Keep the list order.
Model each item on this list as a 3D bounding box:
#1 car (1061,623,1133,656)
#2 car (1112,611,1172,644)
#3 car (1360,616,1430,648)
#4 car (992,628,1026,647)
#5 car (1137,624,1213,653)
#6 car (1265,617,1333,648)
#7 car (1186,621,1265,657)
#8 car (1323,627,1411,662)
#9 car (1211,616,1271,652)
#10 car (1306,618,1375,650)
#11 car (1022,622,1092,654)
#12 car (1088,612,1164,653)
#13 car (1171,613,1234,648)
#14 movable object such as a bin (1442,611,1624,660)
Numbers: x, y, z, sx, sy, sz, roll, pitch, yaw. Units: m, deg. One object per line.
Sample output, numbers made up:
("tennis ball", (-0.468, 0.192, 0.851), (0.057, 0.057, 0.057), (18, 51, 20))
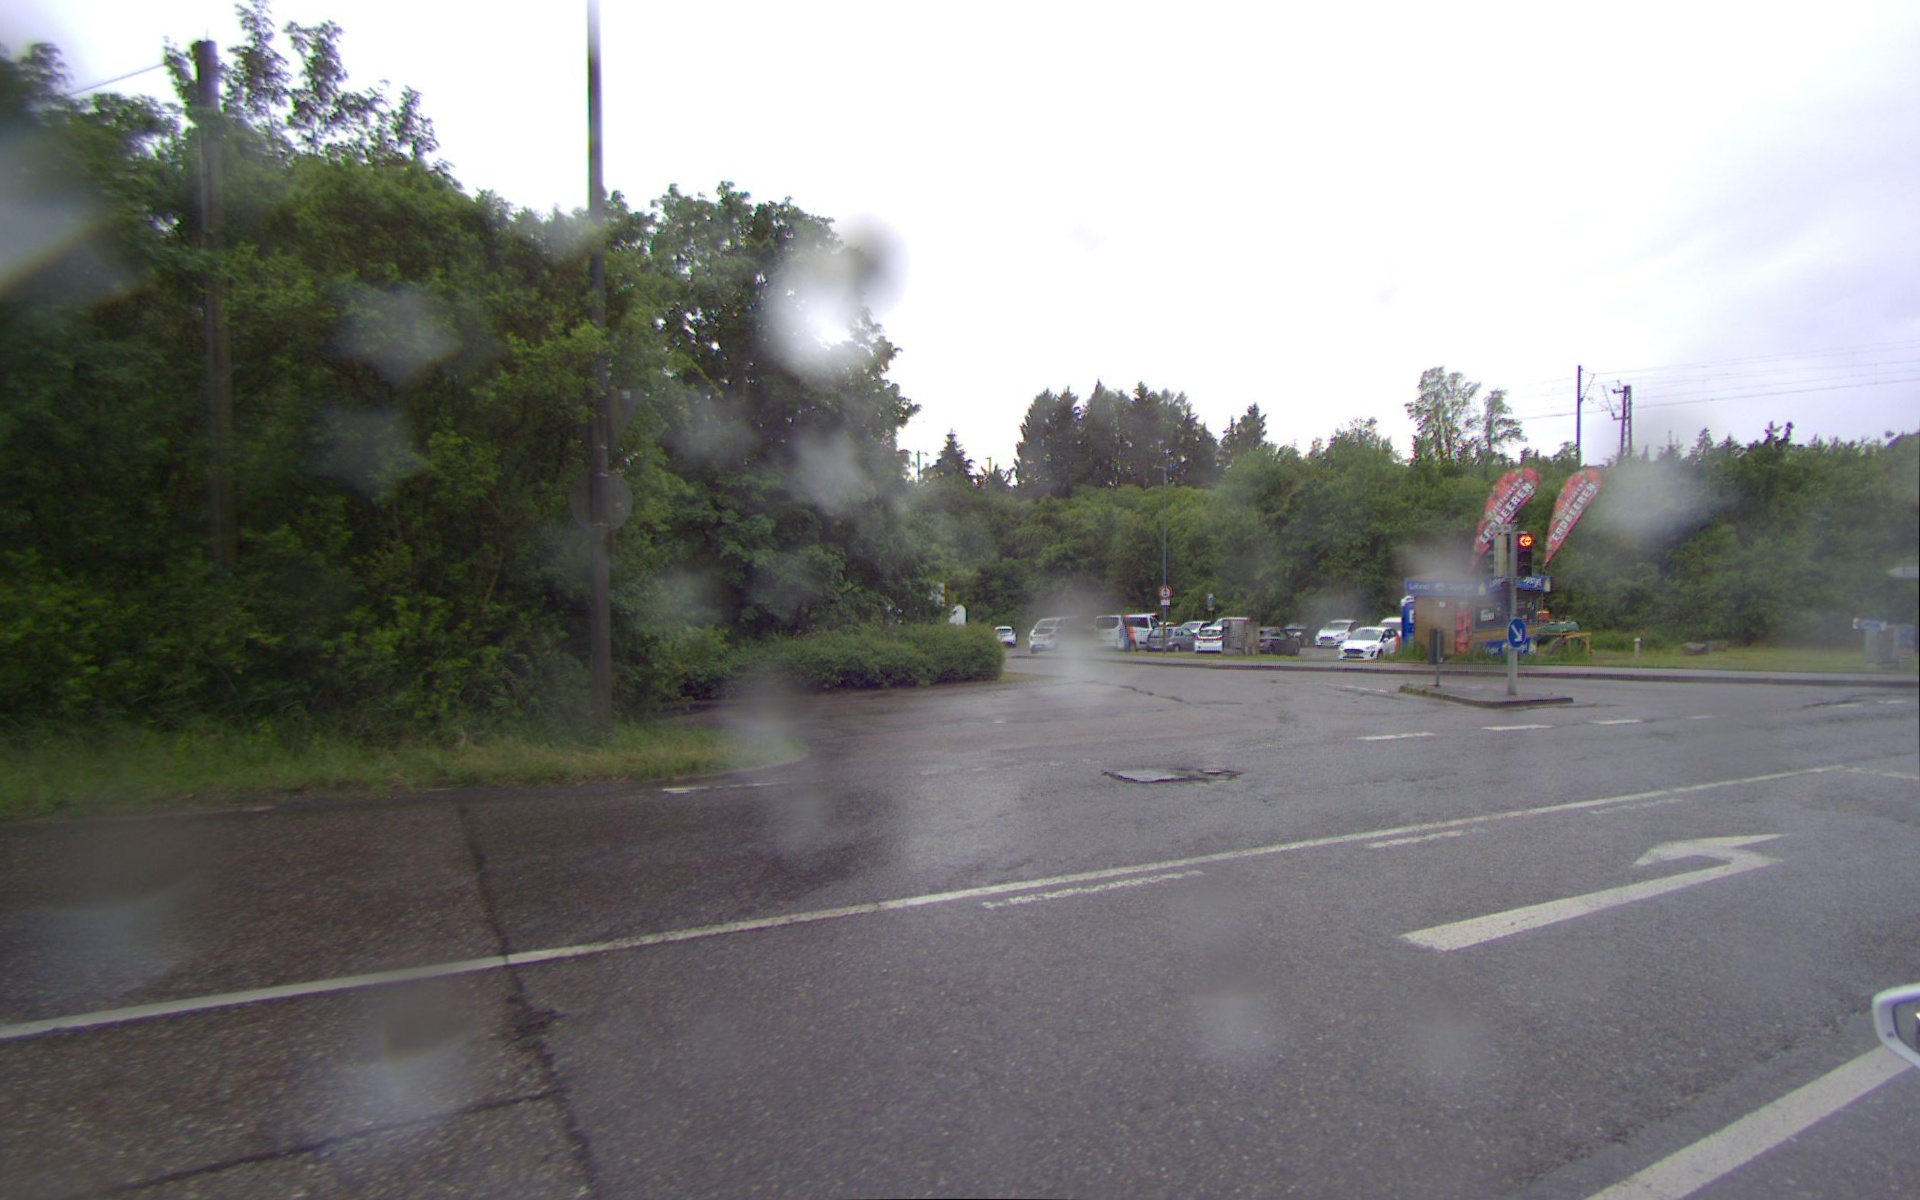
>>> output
("car", (7.315, 2.123, 53.547), (1.834, 1.606, 3.979), (1, -1, 42))
("car", (11.859, 1.769, 65.421), (1.972, 2.040, 3.976), (1, -1, 44))
("car", (22.777, 1.666, 52.593), (3.972, 1.606, 1.975), (2, -2, -43))
("car", (3.461, 2.617, 70.530), (1.609, 1.248, 4.003), (2, -1, 14))
("car", (10.801, 1.954, 50.362), (3.972, 1.327, 1.734), (3, -1, -43))
("car", (19.120, 1.848, 56.582), (3.972, 1.606, 1.975), (3, -1, -43))
("car", (12.871, 1.902, 48.686), (3.880, 1.606, 1.918), (3, -1, -43))
("car", (17.755, 1.958, 43.673), (4.869, 1.358, 1.636), (3, -1, -43))
("car", (16.841, 2.011, 60.127), (1.916, 2.040, 3.846), (1, 0, 43))
("car", (20.663, 1.867, 54.485), (3.972, 1.606, 1.975), (3, -1, -43))
("car", (5.400, 2.105, 55.444), (1.813, 1.606, 3.979), (1, -1, 42))
("car", (8.540, 1.679, 51.612), (1.971, 1.974, 3.979), (1, -1, 42))
("car", (14.971, 1.885, 62.008), (3.973, 2.040, 1.974), (2, -2, -44))
("movable object such as a bin", (22.598, 1.389, 39.912), (5.663, 1.649, 2.753), (2, -1, 10))
